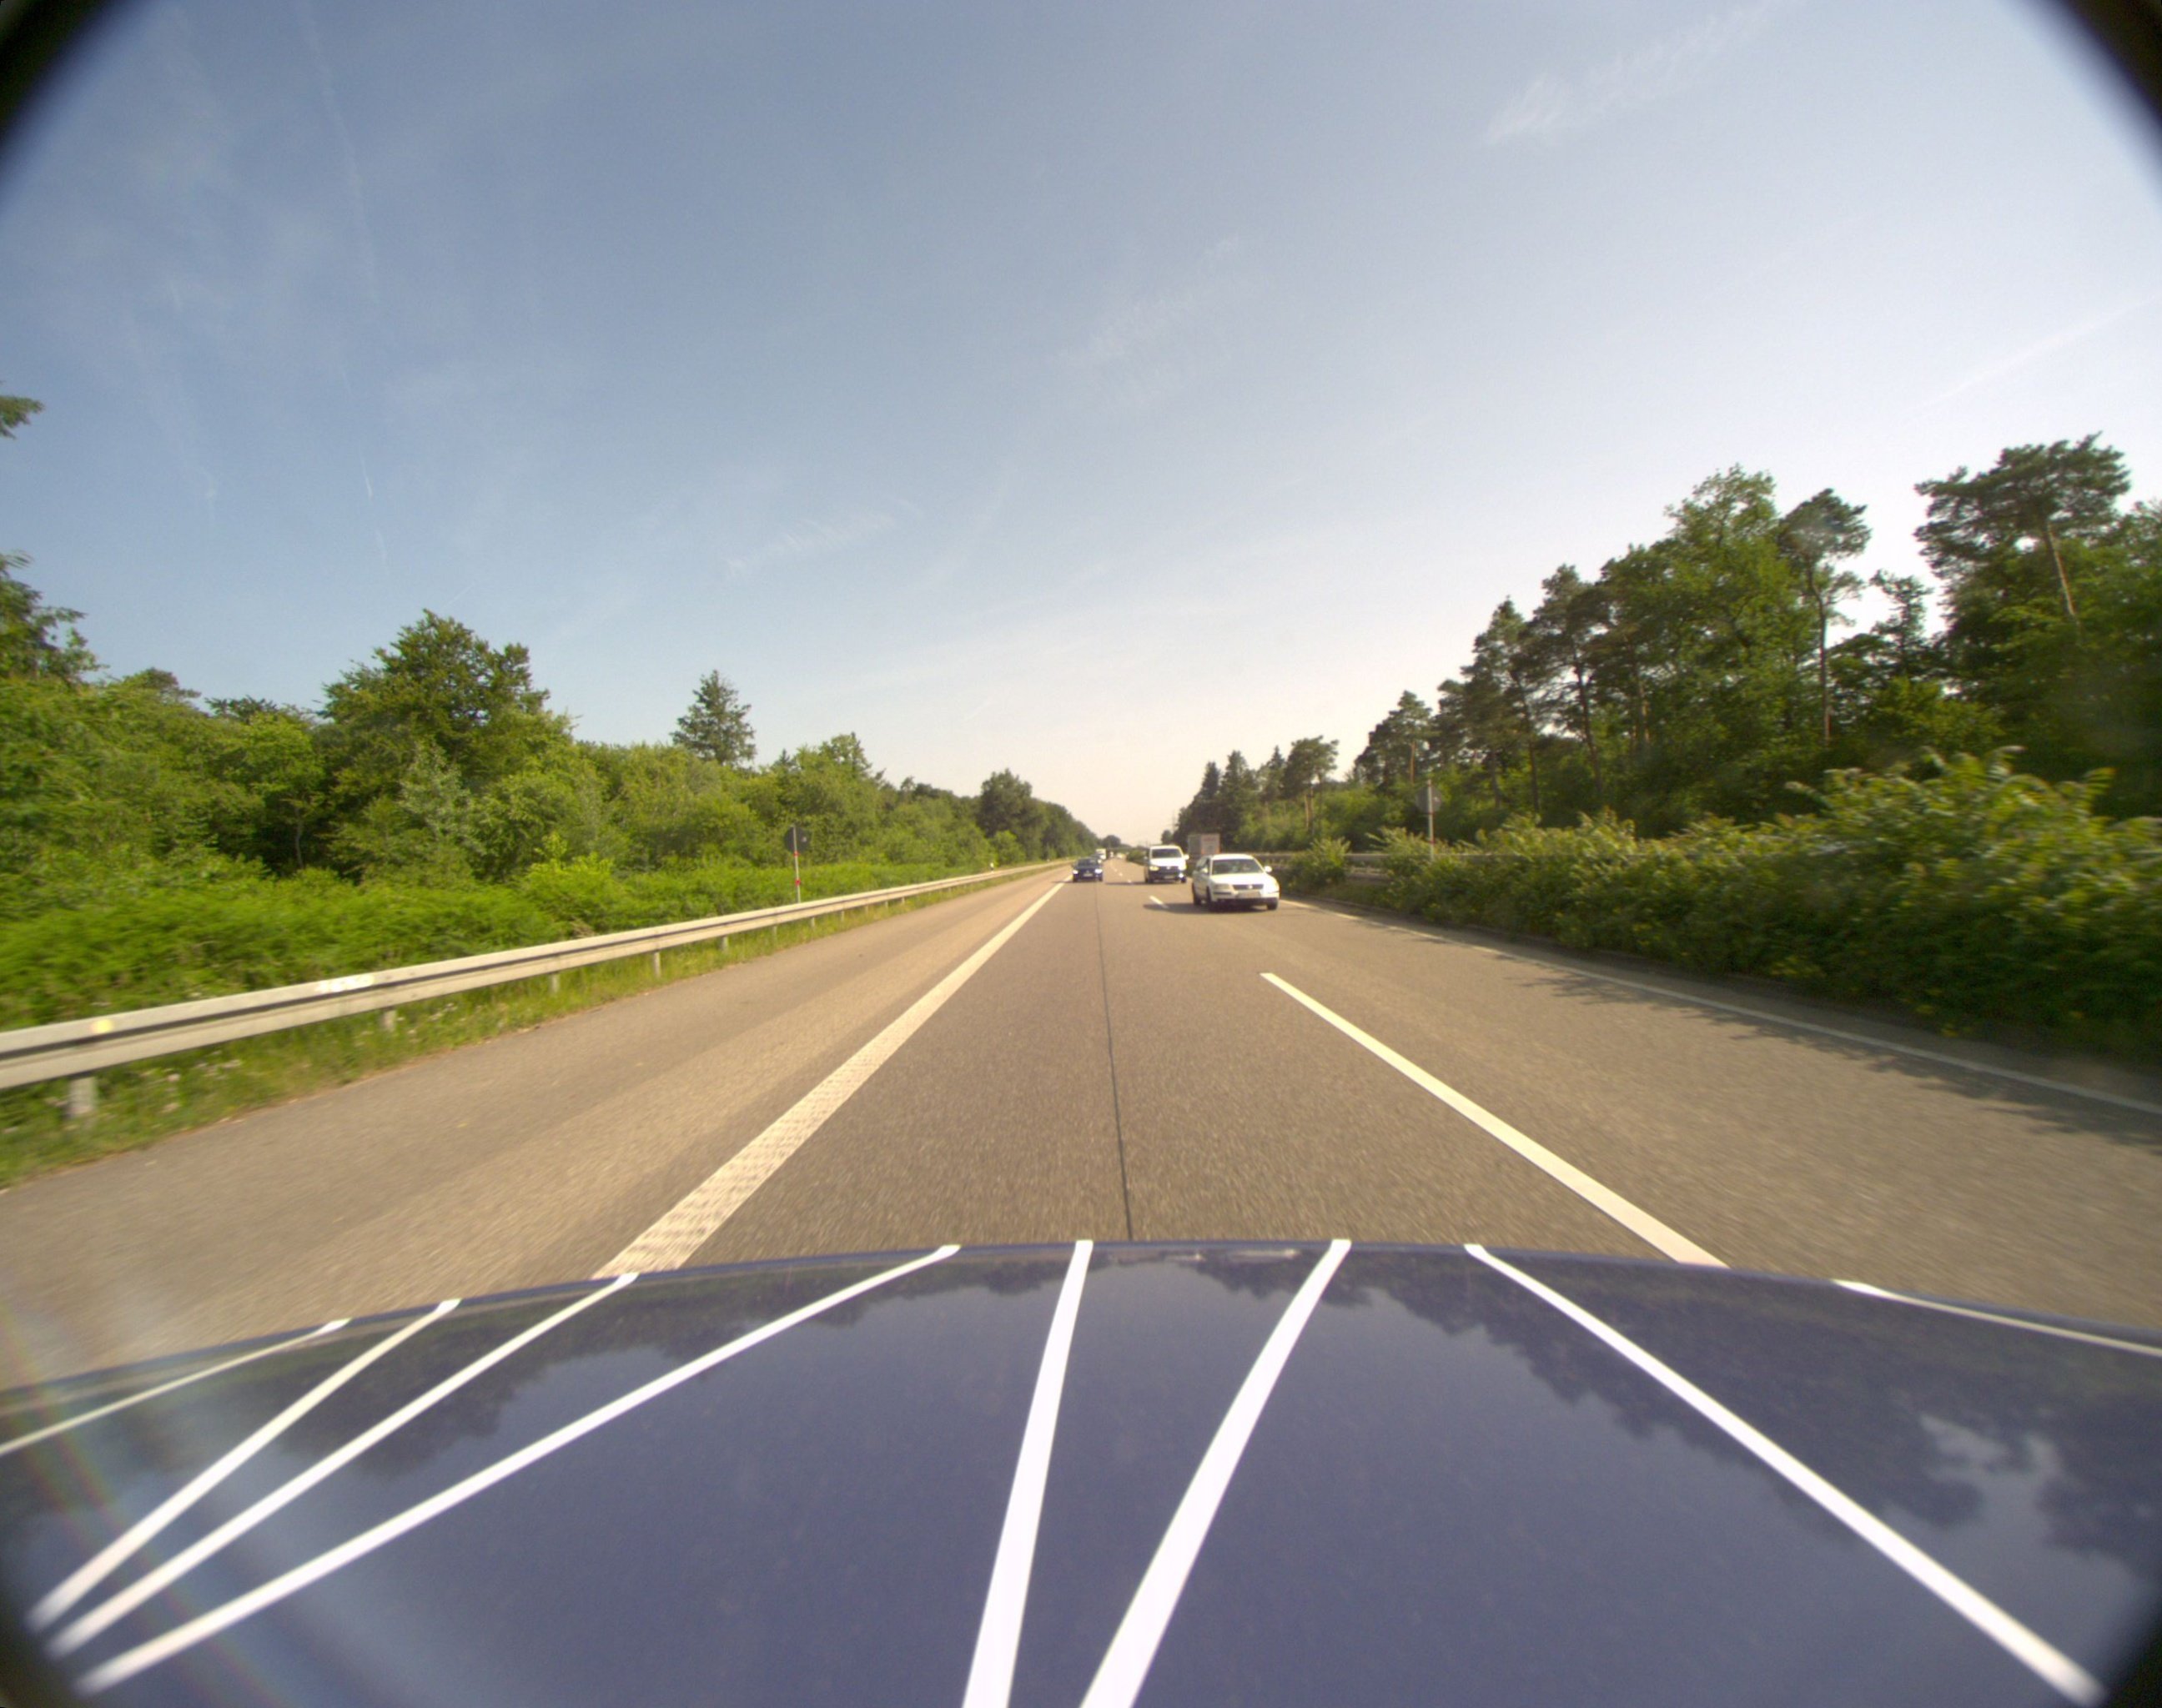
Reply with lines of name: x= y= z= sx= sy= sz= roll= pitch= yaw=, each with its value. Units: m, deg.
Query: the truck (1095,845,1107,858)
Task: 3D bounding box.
truck: x=5.072 y=-0.695 z=191.212 sx=2.694 sy=3.020 sz=10.372 roll=-2 pitch=0 yaw=2

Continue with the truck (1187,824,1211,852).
truck: x=18.158 y=-2.407 z=116.947 sx=2.845 sy=4.171 sz=5.546 roll=-1 pitch=0 yaw=0

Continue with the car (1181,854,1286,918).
car: x=4.066 y=0.768 z=21.113 sx=1.754 sy=1.477 sz=5.263 roll=-2 pitch=0 yaw=-1

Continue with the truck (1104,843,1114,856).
truck: x=9.136 y=-1.330 z=248.896 sx=2.694 sy=4.061 sz=12.365 roll=-2 pitch=0 yaw=1

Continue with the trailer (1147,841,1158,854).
trailer: x=23.646 y=-2.000 z=252.955 sx=2.698 sy=4.176 sz=13.081 roll=-1 pitch=0 yaw=2

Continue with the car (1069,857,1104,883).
car: x=0.350 y=0.886 z=43.221 sx=1.788 sy=1.285 sz=3.539 roll=-2 pitch=0 yaw=3

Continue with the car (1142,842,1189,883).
car: x=4.358 y=0.409 z=39.819 sx=1.912 sy=1.934 sz=4.706 roll=-2 pitch=0 yaw=1

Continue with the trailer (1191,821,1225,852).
trailer: x=18.105 y=-2.382 z=109.236 sx=2.839 sy=4.184 sz=12.411 roll=-1 pitch=0 yaw=1

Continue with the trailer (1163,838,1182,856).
trailer: x=21.327 y=-1.652 z=177.340 sx=3.303 sy=4.016 sz=8.372 roll=-2 pitch=1 yaw=1
